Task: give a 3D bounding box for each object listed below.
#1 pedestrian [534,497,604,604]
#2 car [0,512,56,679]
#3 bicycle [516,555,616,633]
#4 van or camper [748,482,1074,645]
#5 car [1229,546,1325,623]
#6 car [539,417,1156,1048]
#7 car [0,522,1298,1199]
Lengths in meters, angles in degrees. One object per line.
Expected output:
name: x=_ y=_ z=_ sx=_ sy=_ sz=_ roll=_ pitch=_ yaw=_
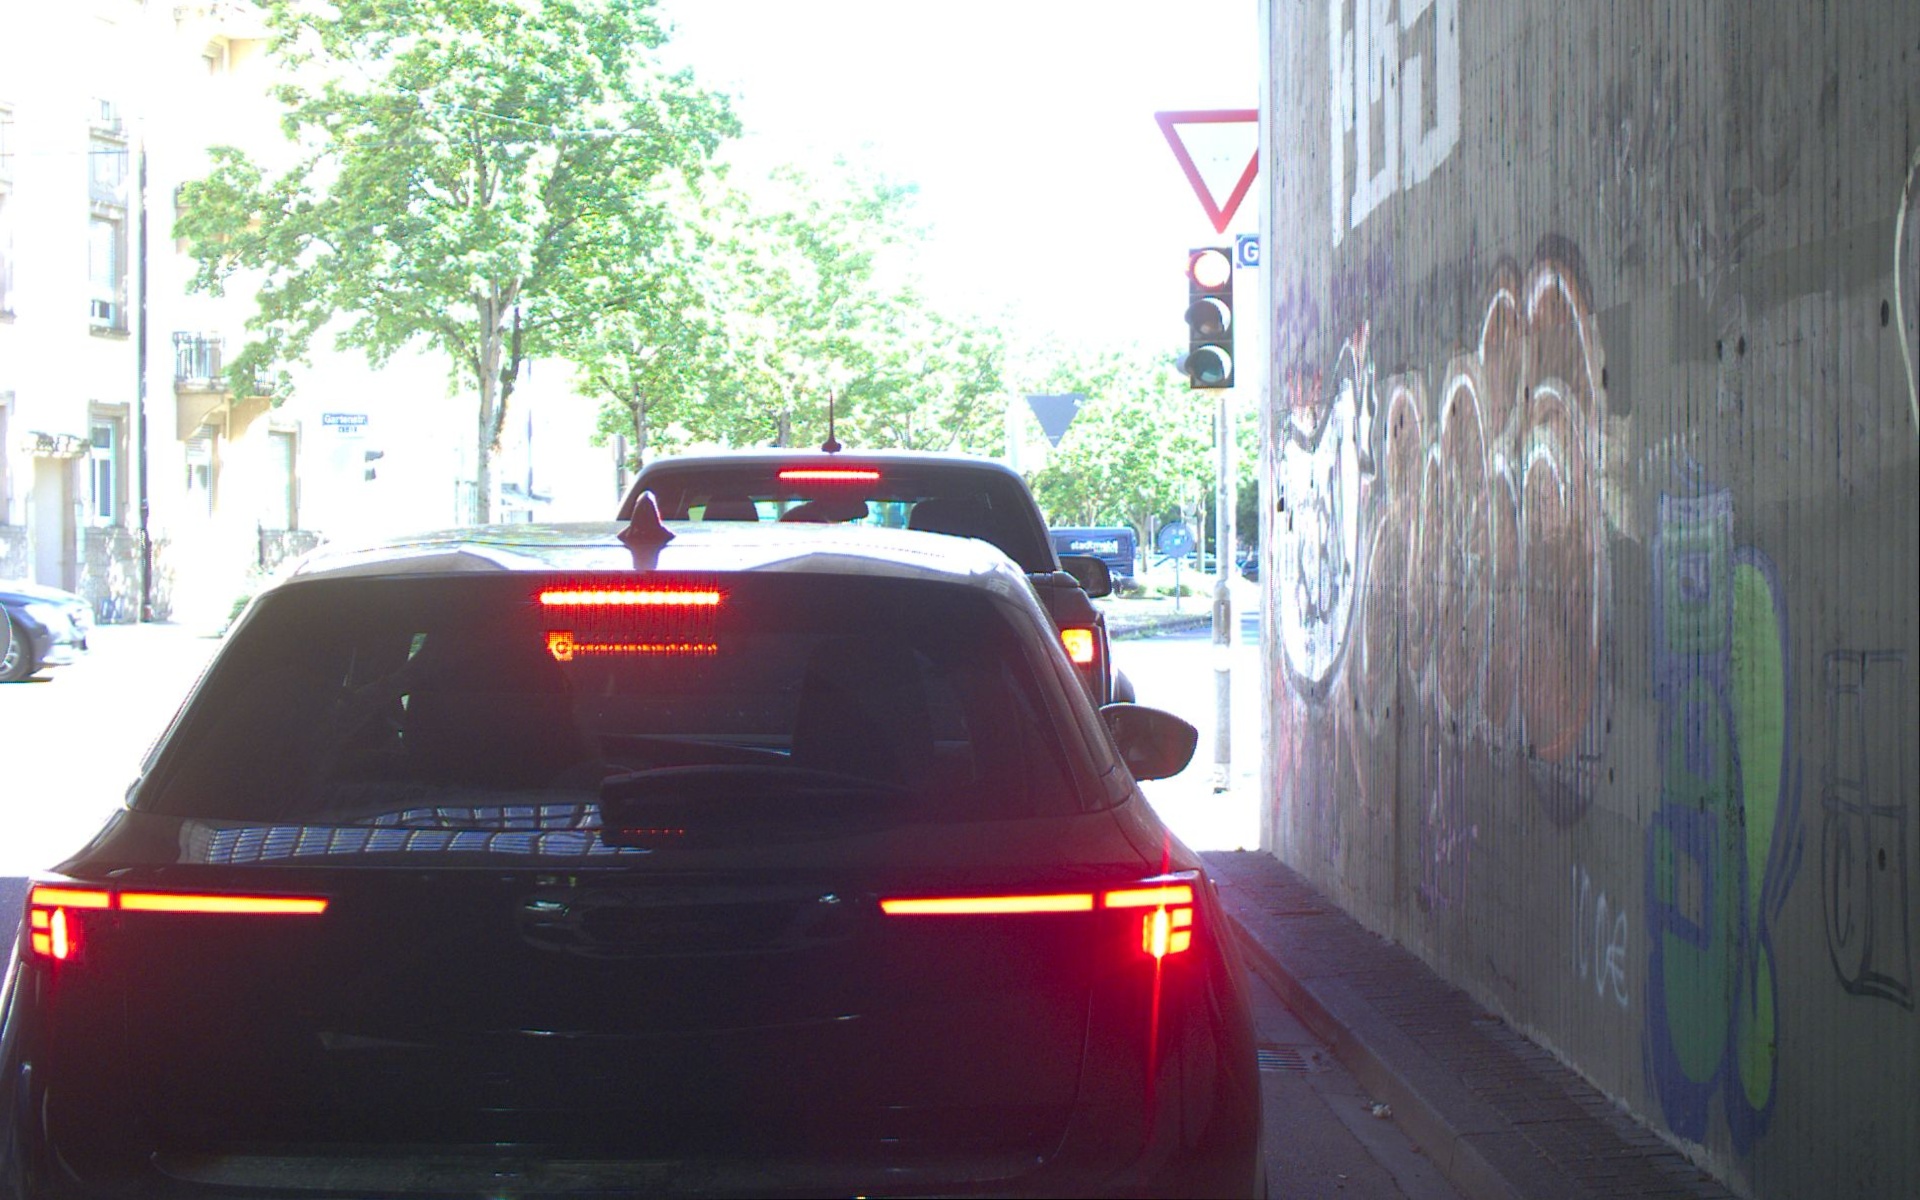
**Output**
pedestrian: x=-5.842 y=-0.739 z=51.411 sx=0.736 sy=1.579 sz=0.889 roll=1 pitch=0 yaw=15
car: x=-11.043 y=-0.051 z=32.191 sx=4.718 sy=1.529 sz=2.000 roll=0 pitch=1 yaw=-6
bicycle: x=-5.867 y=-0.105 z=51.336 sx=0.737 sy=1.126 sz=2.025 roll=0 pitch=1 yaw=17
van or camper: x=-0.585 y=-0.467 z=43.479 sx=3.878 sy=2.007 sz=2.000 roll=0 pitch=1 yaw=7
car: x=7.048 y=-0.379 z=76.784 sx=1.994 sy=1.635 sz=4.592 roll=0 pitch=1 yaw=4
car: x=-0.346 y=0.351 z=12.047 sx=1.786 sy=1.827 sz=3.961 roll=1 pitch=1 yaw=0
car: x=-0.489 y=0.625 z=6.161 sx=1.753 sy=1.493 sz=4.000 roll=1 pitch=1 yaw=0
